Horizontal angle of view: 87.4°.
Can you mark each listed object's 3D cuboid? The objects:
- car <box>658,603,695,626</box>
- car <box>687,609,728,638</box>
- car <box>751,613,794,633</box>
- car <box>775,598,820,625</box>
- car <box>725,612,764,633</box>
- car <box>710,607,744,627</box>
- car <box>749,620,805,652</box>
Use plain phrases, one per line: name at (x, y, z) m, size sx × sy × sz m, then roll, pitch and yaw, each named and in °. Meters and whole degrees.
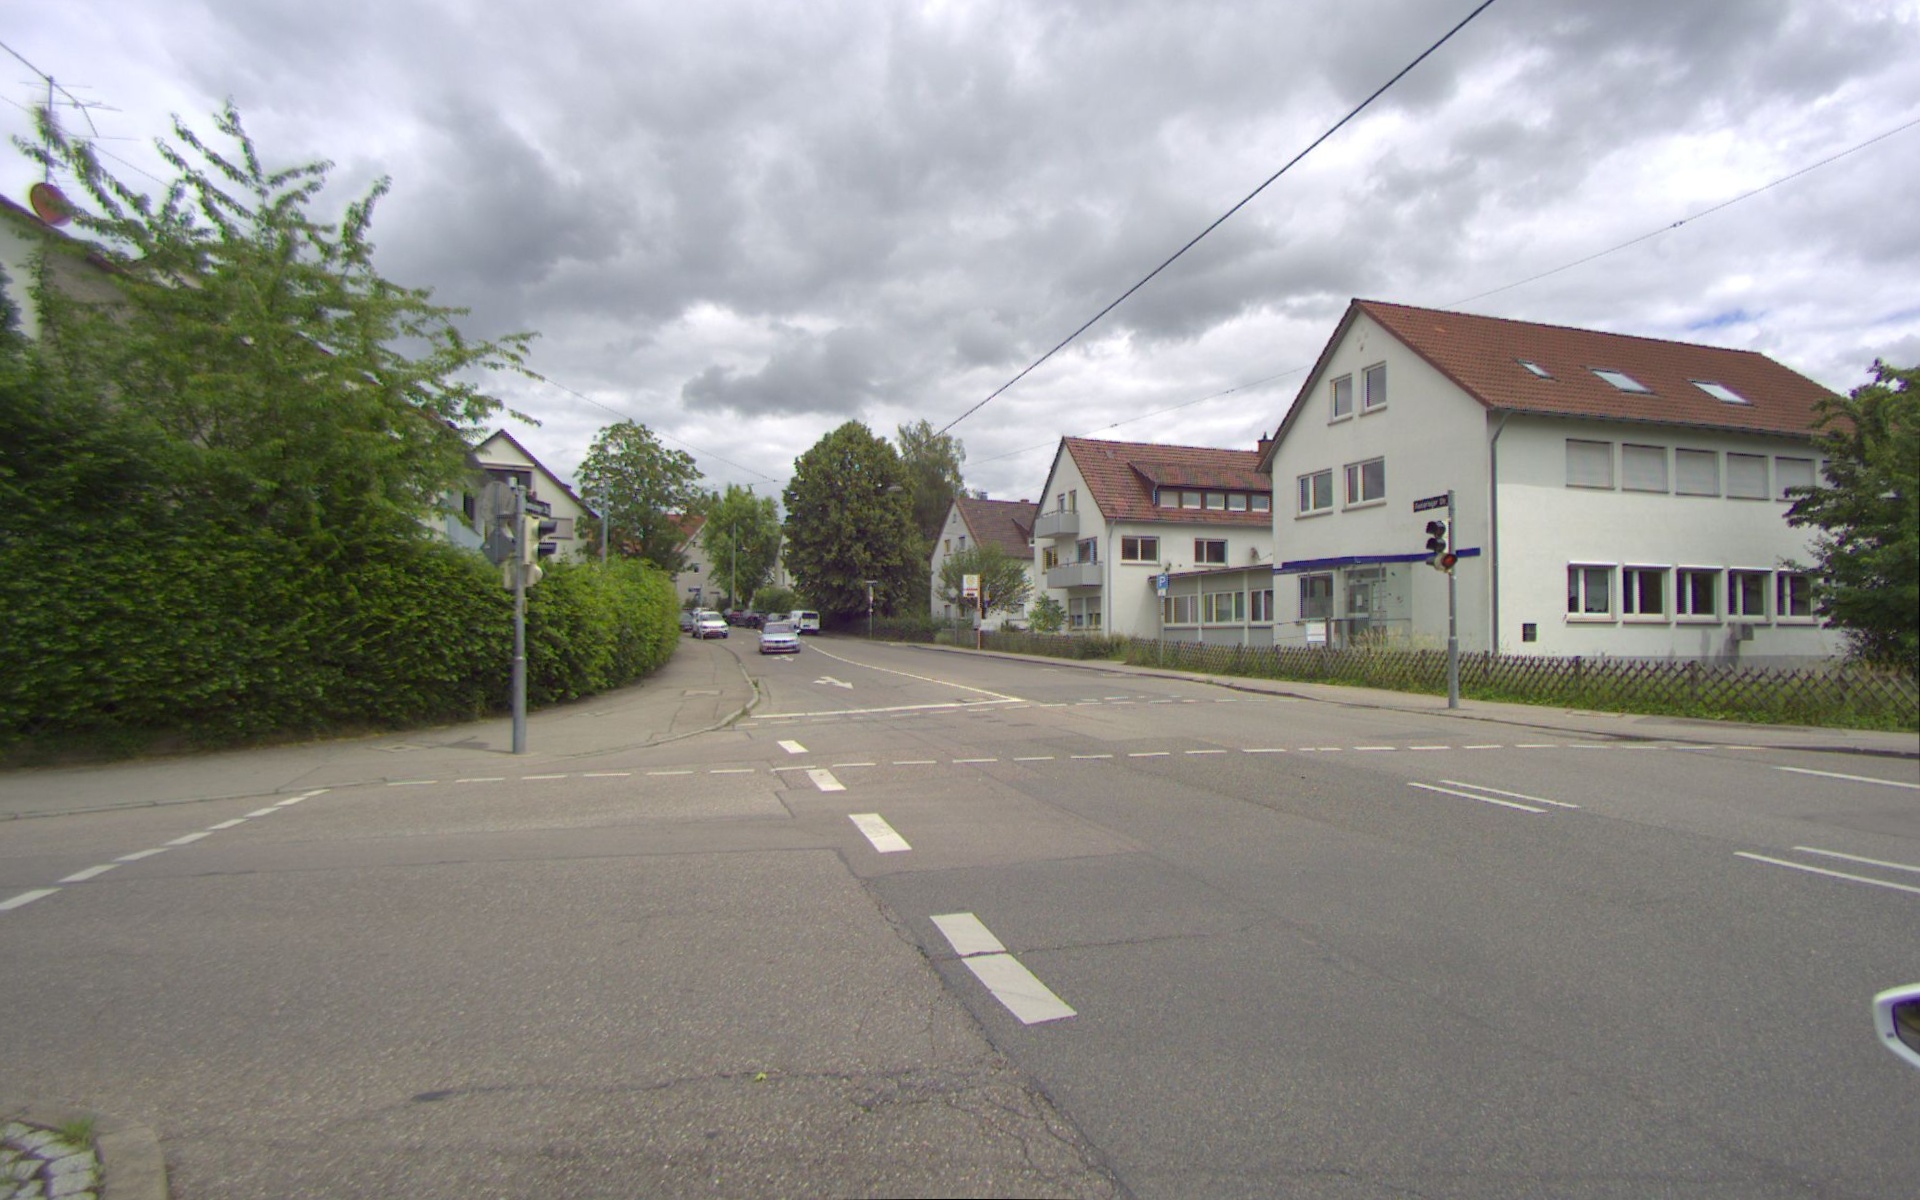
car at (-27.012, 1.387, 95.620) m, size 2.138 × 2.040 × 3.961 m, roll 2°, pitch -1°, yaw -35°
car at (-16.263, 1.451, 64.482) m, size 1.829 × 1.737 × 4.548 m, roll -1°, pitch 0°, yaw -24°
car at (-14.969, 1.827, 80.118) m, size 1.976 × 1.498 × 4.584 m, roll 0°, pitch 0°, yaw -29°
car at (-12.233, 0.844, 75.420) m, size 1.823 × 1.797 × 4.281 m, roll 3°, pitch -1°, yaw -31°
car at (-18.445, 1.885, 85.929) m, size 1.976 × 1.636 × 4.504 m, roll 2°, pitch -1°, yaw -29°
car at (-21.183, 1.526, 91.260) m, size 1.795 × 1.636 × 4.504 m, roll 2°, pitch -1°, yaw -29°
car at (-8.325, 1.632, 45.432) m, size 1.693 × 1.372 × 4.062 m, roll 1°, pitch -2°, yaw -22°
